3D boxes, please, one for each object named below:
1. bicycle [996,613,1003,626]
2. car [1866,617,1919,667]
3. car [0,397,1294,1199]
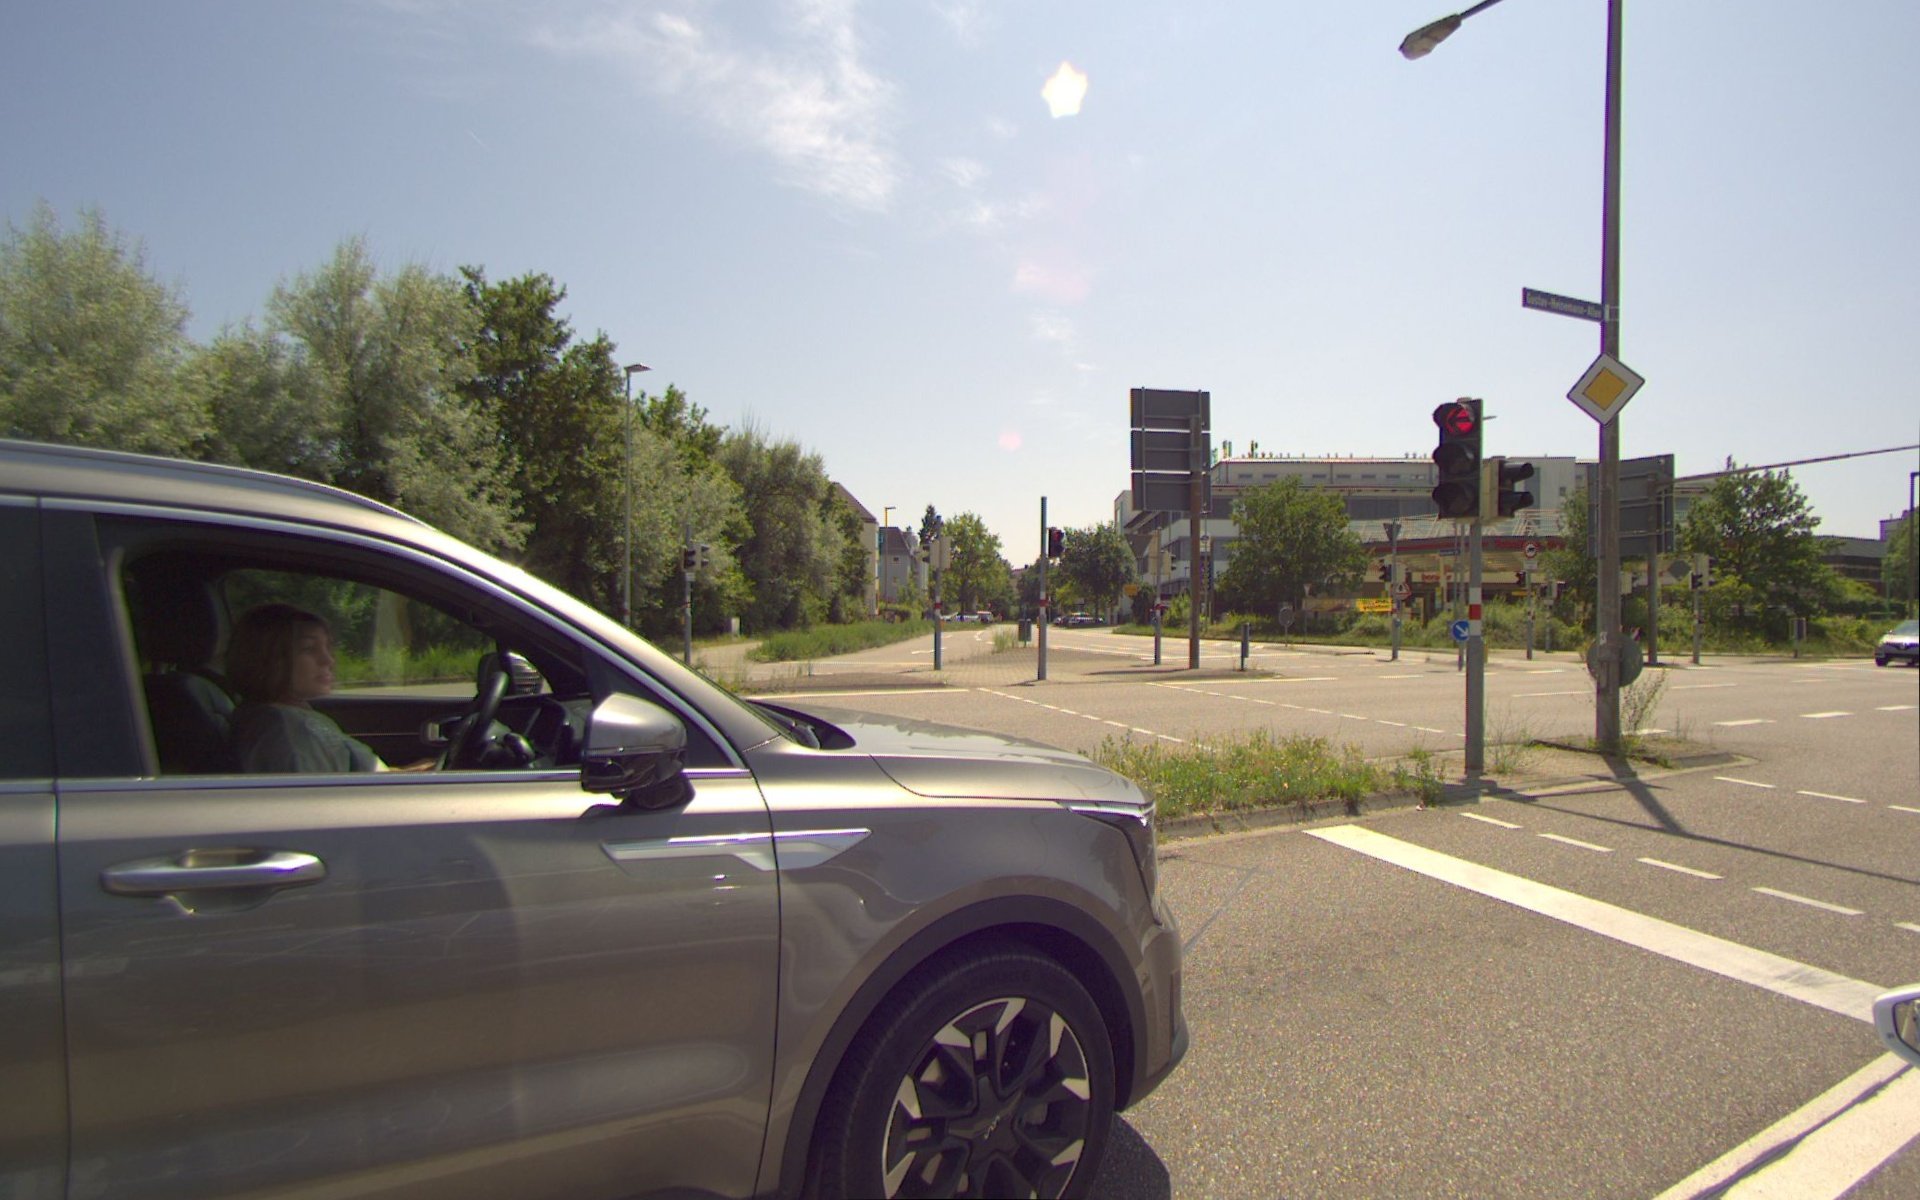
[{"bbox_3d":[6.048,3.002,154.799,0.876,2.040,3.196,0,-1,6],"label":"bicycle"},{"bbox_3d":[32.547,1.401,34.037,3.954,1.560,1.650,1,0,-31],"label":"car"},{"bbox_3d":[-1.498,0.592,2.181,4.480,1.690,1.771,1,-1,-31],"label":"car"}]
